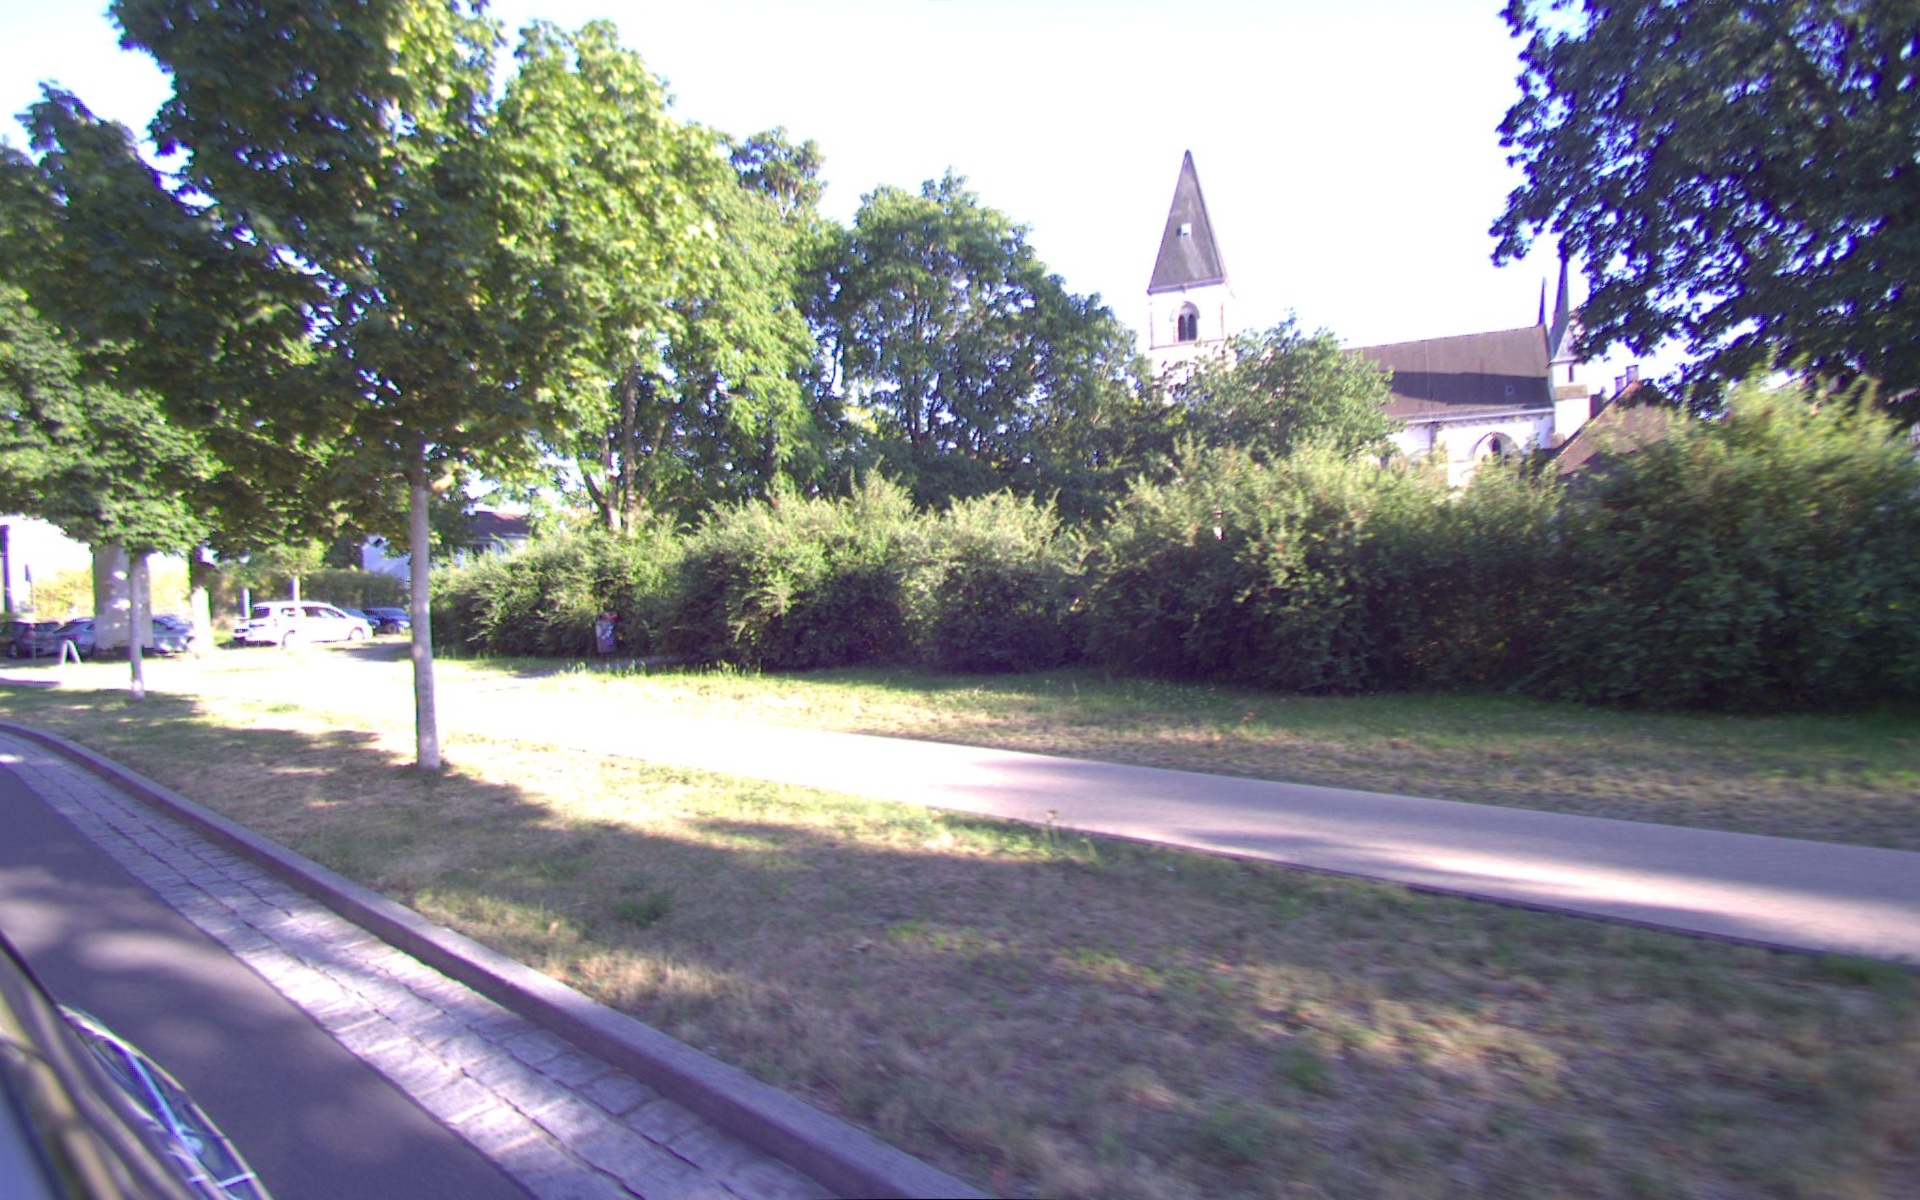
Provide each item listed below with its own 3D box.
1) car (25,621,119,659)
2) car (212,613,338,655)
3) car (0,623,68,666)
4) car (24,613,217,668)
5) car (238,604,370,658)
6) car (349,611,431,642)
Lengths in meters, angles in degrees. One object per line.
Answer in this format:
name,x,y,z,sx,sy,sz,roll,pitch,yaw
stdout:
car,-37.404,1.661,42.623,3.332,1.502,1.626,-1,1,22
car,-30.368,1.473,45.014,1.773,1.546,4.309,-3,0,25
car,-37.097,1.731,39.621,3.972,1.527,1.634,-1,1,22
car,-28.821,1.360,34.954,1.856,1.570,4.801,-2,1,23
car,-26.517,1.205,41.049,1.751,1.930,4.206,-2,0,23
car,-30.514,1.413,54.179,3.896,1.549,1.733,-1,1,21
